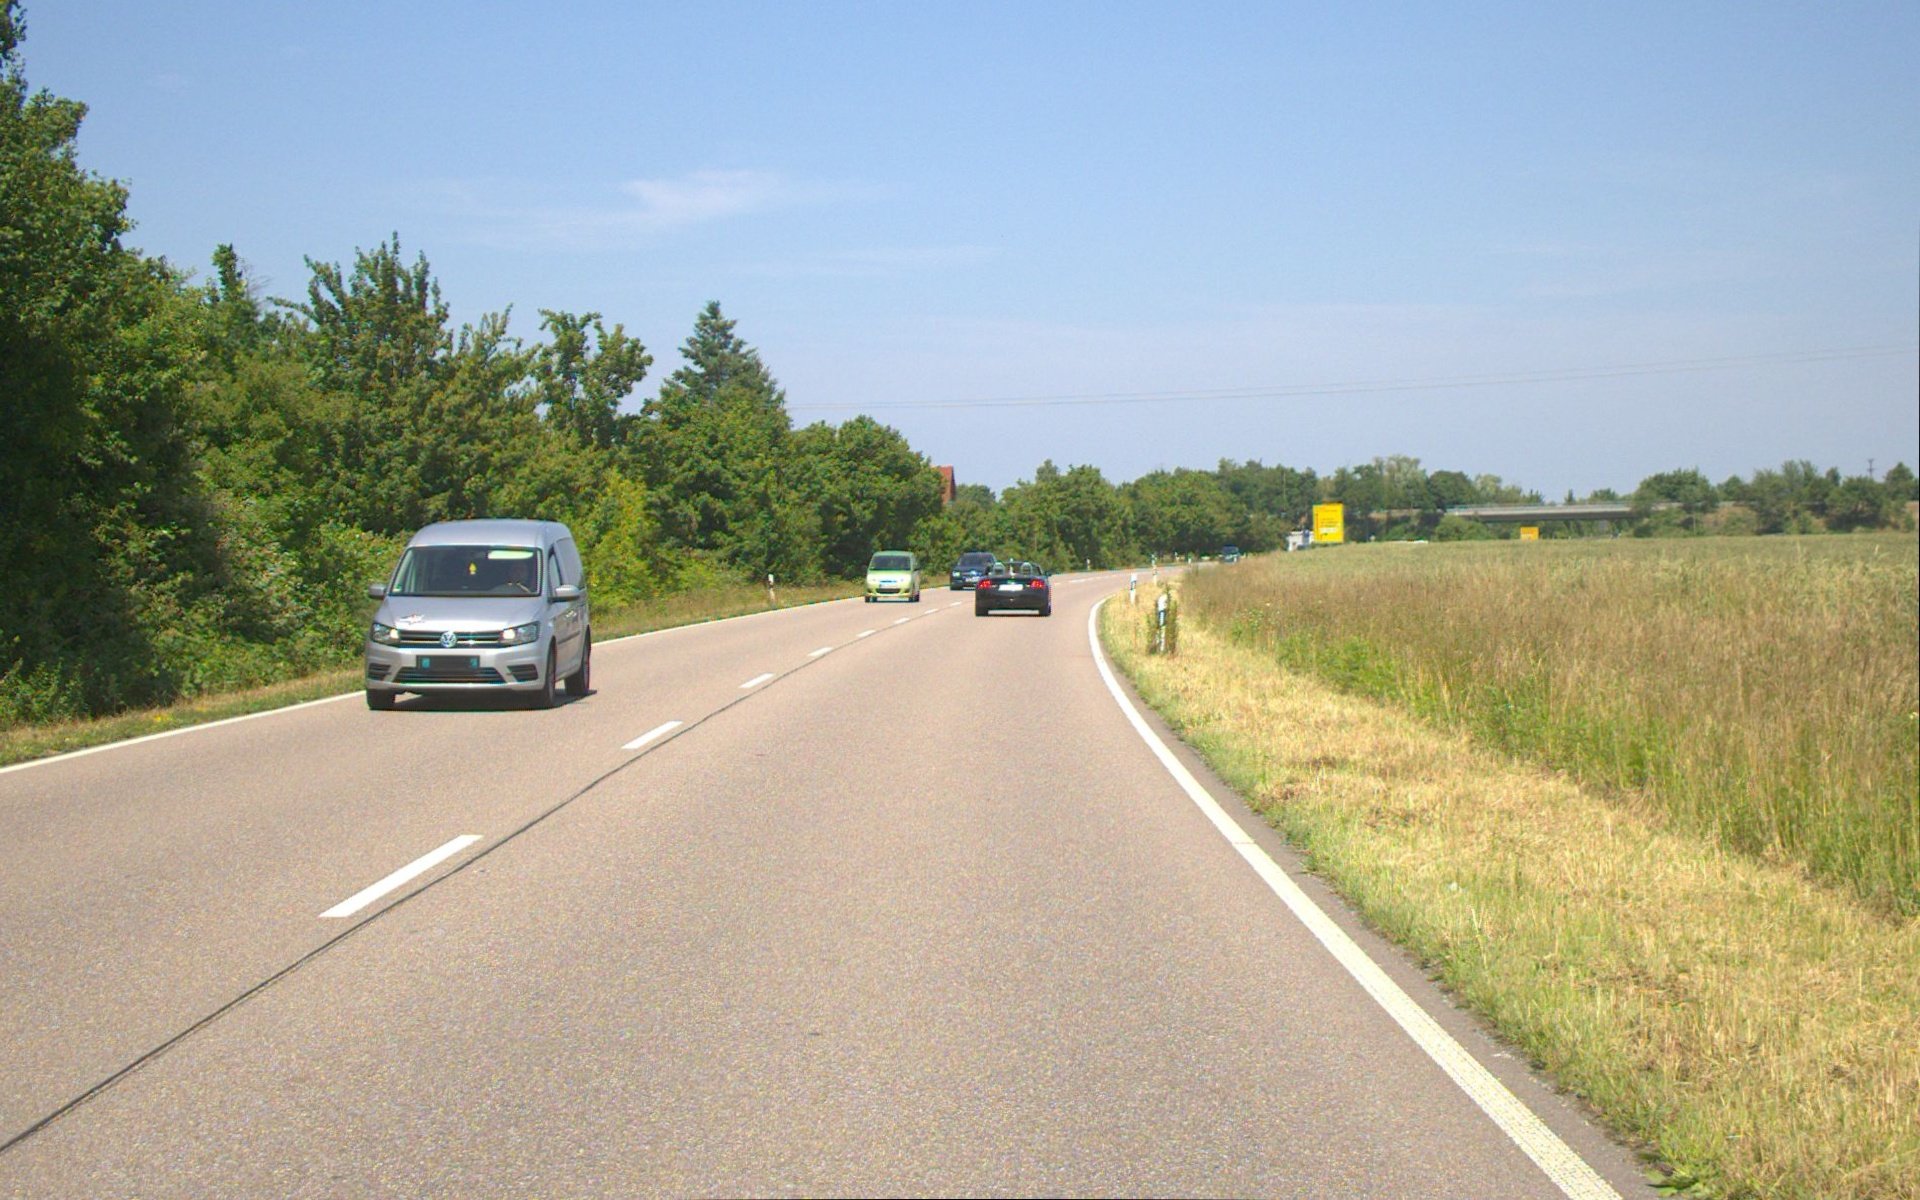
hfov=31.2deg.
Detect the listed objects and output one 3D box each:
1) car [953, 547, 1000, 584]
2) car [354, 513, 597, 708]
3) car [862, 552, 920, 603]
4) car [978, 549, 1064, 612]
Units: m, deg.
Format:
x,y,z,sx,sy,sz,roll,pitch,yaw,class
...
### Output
x,y,z,sx,sy,sz,roll,pitch,yaw,class
0.673,-1.385,136.986,1.800,1.445,4.533,0,1,1,car
-4.769,0.062,34.421,1.762,1.813,4.804,0,1,0,car
-2.057,-0.694,103.830,1.496,1.490,3.832,0,1,3,car
1.472,-0.481,81.941,1.814,1.436,3.999,1,1,4,car
